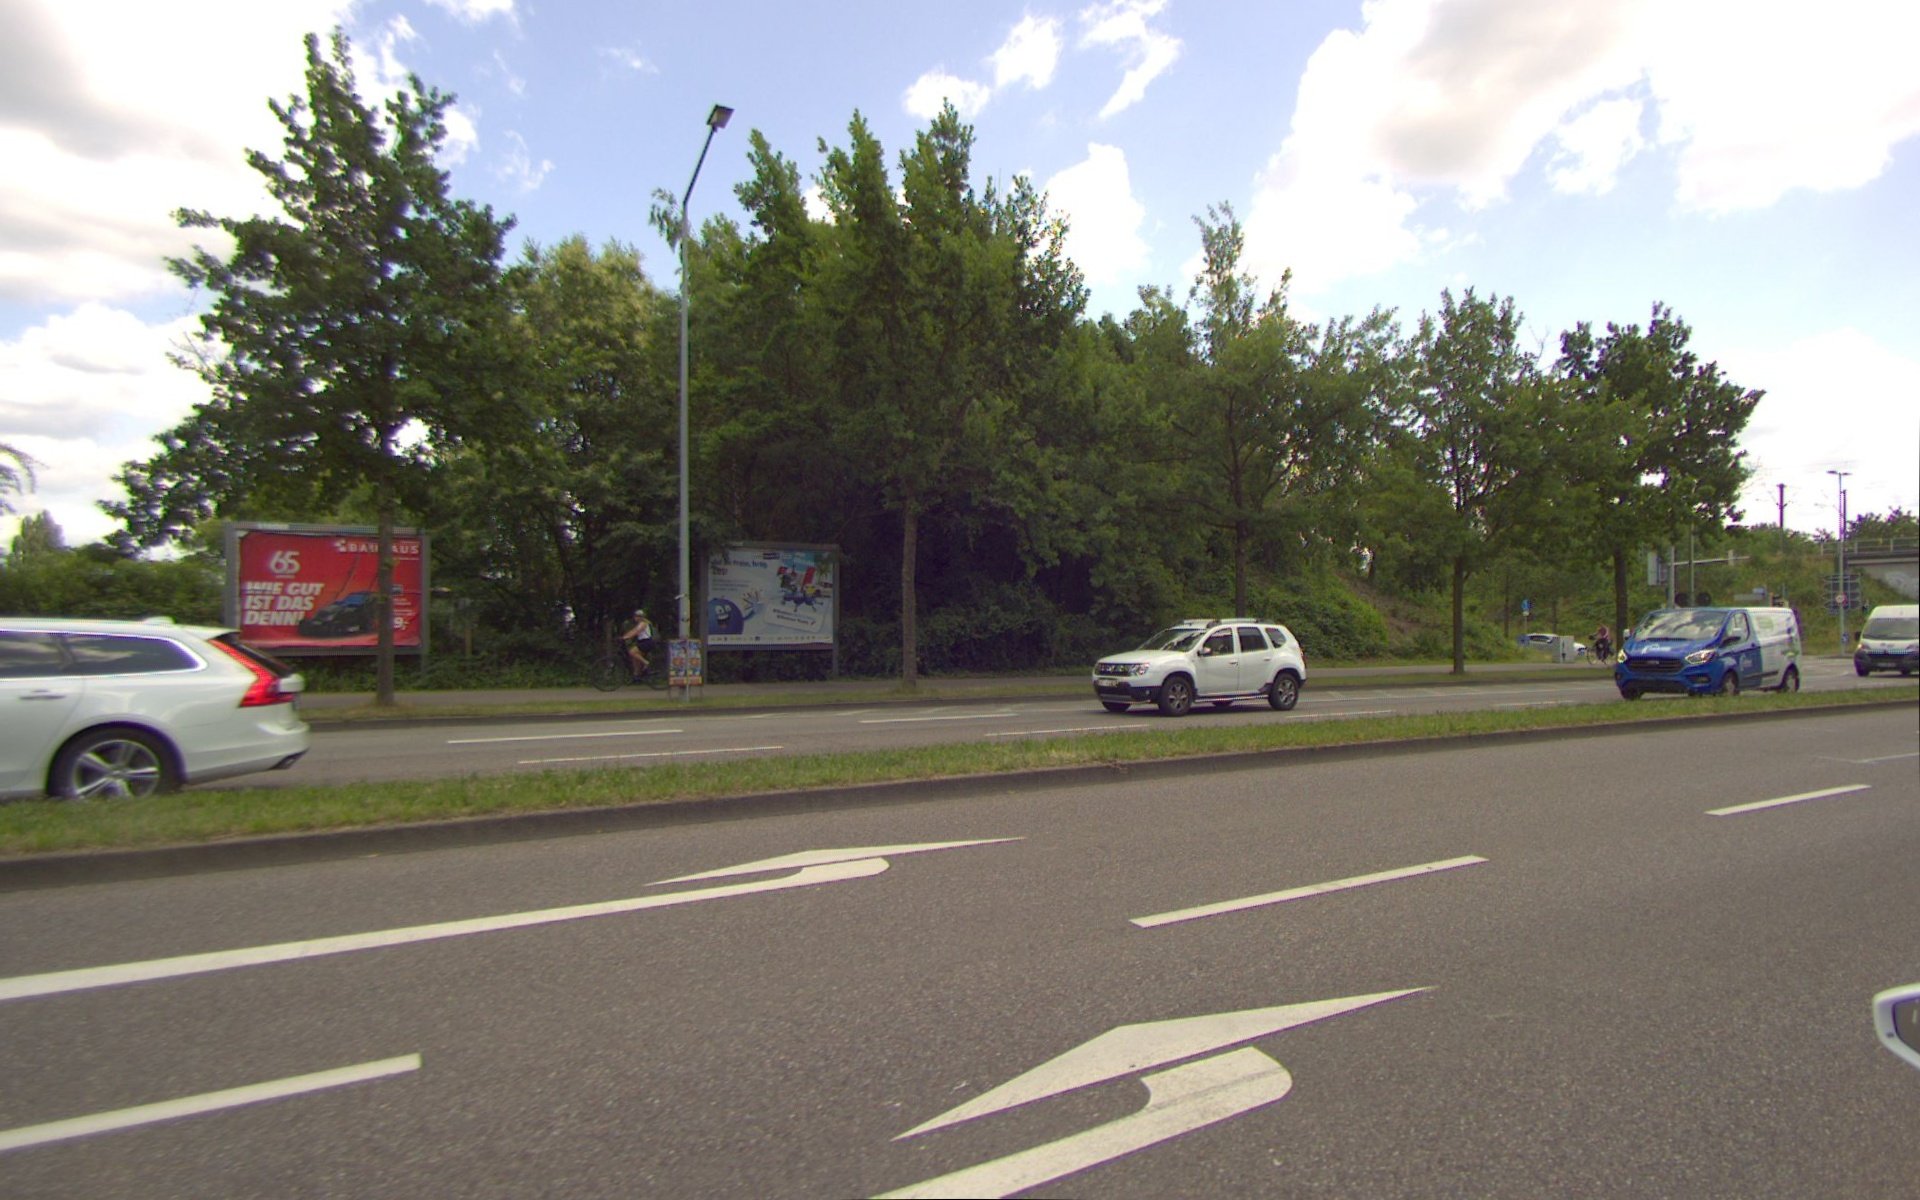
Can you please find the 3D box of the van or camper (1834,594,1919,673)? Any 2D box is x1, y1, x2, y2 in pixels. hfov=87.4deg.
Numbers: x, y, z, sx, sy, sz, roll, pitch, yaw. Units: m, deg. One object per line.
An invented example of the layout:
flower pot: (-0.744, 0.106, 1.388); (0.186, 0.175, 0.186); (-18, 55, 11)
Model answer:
van or camper: (33.908, 1.153, 35.666); (6.984, 2.573, 2.339); (1, 0, -32)

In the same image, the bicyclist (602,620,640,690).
bicyclist: (-7.356, 1.180, 21.813); (0.704, 1.484, 0.492); (1, 0, -26)

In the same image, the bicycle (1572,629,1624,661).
bicycle: (26.906, 1.907, 42.347); (2.364, 1.287, 0.818); (1, 0, -29)

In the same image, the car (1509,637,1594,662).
car: (36.737, 3.034, 62.500); (1.972, 1.397, 4.298); (1, -1, -23)

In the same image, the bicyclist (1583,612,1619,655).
bicyclist: (27.041, 1.412, 42.358); (0.986, 1.770, 0.888); (1, 0, -31)

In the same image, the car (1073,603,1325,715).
car: (4.418, 1.042, 18.453); (4.357, 1.825, 1.984); (1, -3, -30)

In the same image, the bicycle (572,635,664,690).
bicycle: (-7.417, 1.346, 21.786); (1.821, 1.121, 0.507); (1, 0, -28)

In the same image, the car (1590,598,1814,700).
car: (16.121, 1.005, 21.773); (5.135, 1.990, 2.179); (1, -1, -32)

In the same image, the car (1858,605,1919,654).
car: (56.728, 1.737, 59.204); (5.326, 2.859, 2.380); (0, -1, 35)

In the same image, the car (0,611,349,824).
car: (-7.490, 0.810, 7.442); (4.965, 1.450, 1.984); (1, -1, -30)
